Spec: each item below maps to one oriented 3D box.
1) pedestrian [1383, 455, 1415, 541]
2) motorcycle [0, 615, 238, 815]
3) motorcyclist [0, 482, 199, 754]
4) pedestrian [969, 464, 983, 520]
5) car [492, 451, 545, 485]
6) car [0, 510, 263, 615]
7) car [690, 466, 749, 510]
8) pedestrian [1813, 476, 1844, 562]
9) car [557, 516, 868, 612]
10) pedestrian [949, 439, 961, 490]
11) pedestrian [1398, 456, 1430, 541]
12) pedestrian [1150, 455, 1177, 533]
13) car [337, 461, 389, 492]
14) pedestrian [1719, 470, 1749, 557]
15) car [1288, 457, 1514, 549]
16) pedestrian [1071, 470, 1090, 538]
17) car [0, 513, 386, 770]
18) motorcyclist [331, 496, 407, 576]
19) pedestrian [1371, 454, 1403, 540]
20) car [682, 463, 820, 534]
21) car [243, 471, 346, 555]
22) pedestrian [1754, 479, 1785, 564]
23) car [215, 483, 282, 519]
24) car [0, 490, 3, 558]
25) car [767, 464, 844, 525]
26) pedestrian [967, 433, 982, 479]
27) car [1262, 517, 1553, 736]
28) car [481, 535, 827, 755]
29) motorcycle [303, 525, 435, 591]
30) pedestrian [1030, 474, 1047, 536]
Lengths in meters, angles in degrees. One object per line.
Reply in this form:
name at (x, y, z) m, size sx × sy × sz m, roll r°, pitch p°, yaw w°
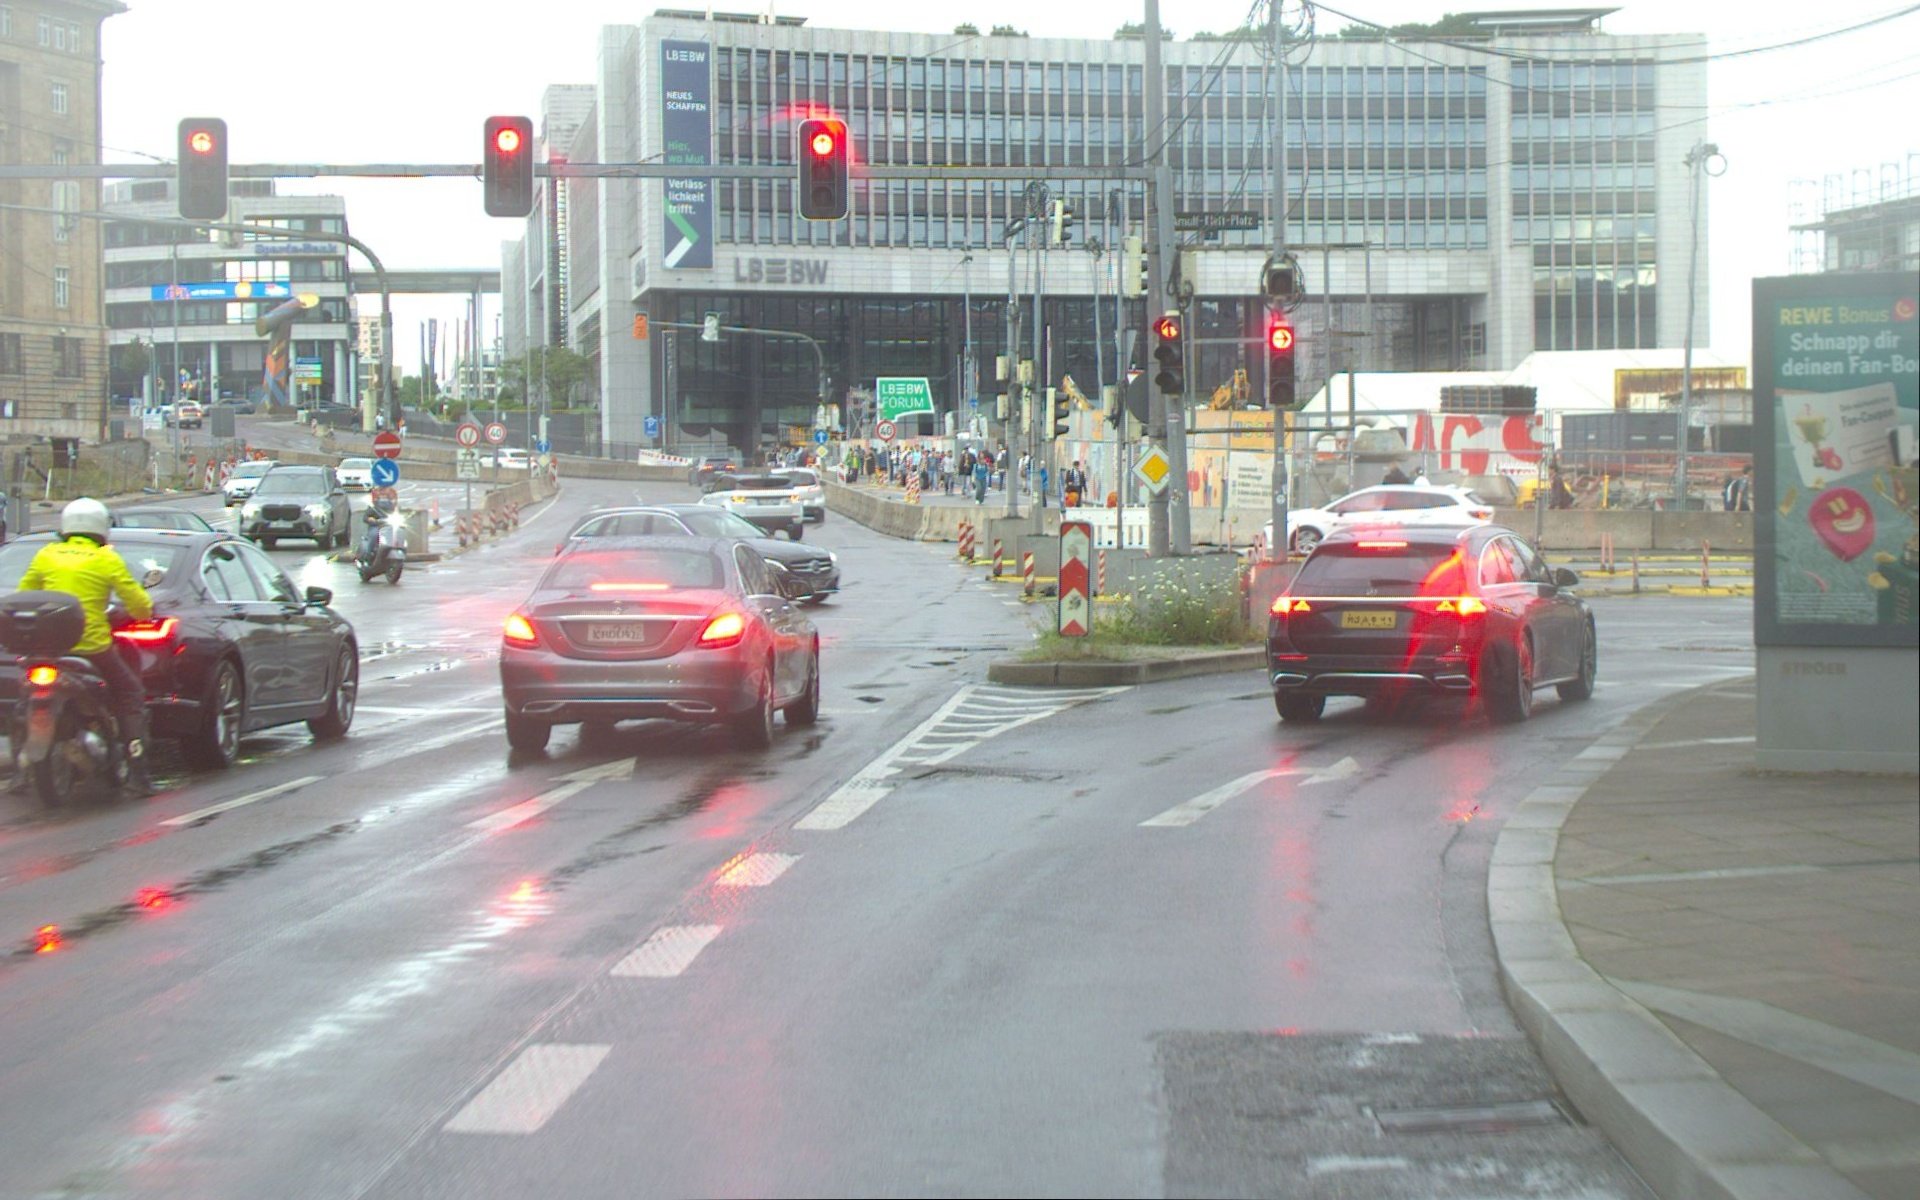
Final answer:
pedestrian at (9.760, -2.262, 76.442) m, size 0.361 × 1.891 × 0.576 m, roll -2°, pitch 1°, yaw -40°
motorcycle at (-4.719, 0.609, 19.192) m, size 0.942 × 0.986 × 2.294 m, roll 1°, pitch 1°, yaw -1°
motorcyclist at (-4.854, 0.094, 19.283) m, size 0.941 × 1.470 × 1.100 m, roll 1°, pitch 0°, yaw -1°
pedestrian at (0.540, -3.640, 115.968) m, size 0.361 × 1.891 × 0.576 m, roll 1°, pitch 0°, yaw -7°
car at (-24.997, -7.466, 194.631) m, size 1.993 × 1.809 × 4.001 m, roll 1°, pitch 1°, yaw -23°
car at (-12.632, -0.573, 51.357) m, size 4.106 × 1.501 × 1.996 m, roll 1°, pitch 1°, yaw 33°
car at (-11.478, -5.328, 163.806) m, size 1.993 × 2.007 × 4.001 m, roll 1°, pitch 1°, yaw -16°
pedestrian at (19.159, -1.783, 75.856) m, size 0.574 × 1.891 × 0.362 m, roll 1°, pitch 0°, yaw 3°
car at (-3.629, -0.533, 50.394) m, size 4.105 × 1.340 × 1.997 m, roll 1°, pitch 1°, yaw 27°
pedestrian at (-0.179, -5.094, 129.205) m, size 0.361 × 1.891 × 0.576 m, roll 1°, pitch 0°, yaw -7°
pedestrian at (10.141, -2.269, 76.786) m, size 0.361 × 1.891 × 0.576 m, roll 0°, pitch 1°, yaw -42°
pedestrian at (4.980, -2.586, 84.074) m, size 0.361 × 1.891 × 0.576 m, roll 0°, pitch 1°, yaw -37°
car at (-26.253, -5.434, 151.302) m, size 1.767 × 1.256 × 4.000 m, roll 1°, pitch 1°, yaw -3°
pedestrian at (16.935, -1.881, 75.244) m, size 0.575 × 1.891 × 0.362 m, roll 1°, pitch 0°, yaw 6°
car at (8.893, -1.945, 69.227) m, size 4.406 × 1.760 × 1.999 m, roll 1°, pitch 1°, yaw 10°
pedestrian at (3.396, -2.695, 96.665) m, size 0.361 × 1.891 × 0.577 m, roll 1°, pitch 0°, yaw -16°
car at (-5.348, 0.216, 22.889) m, size 1.887 × 1.509 × 5.002 m, roll 1°, pitch 1°, yaw 4°
motorcyclist at (-10.080, -1.095, 58.692) m, size 0.946 × 1.353 × 0.848 m, roll 1°, pitch 1°, yaw 27°
pedestrian at (9.465, -2.273, 76.253) m, size 0.361 × 1.891 × 0.576 m, roll 0°, pitch 1°, yaw -45°
car at (-5.063, -2.417, 82.797) m, size 1.993 × 1.634 × 4.001 m, roll 1°, pitch 1°, yaw -25°
car at (-14.919, -1.925, 77.251) m, size 1.993 × 1.791 × 5.104 m, roll 1°, pitch 1°, yaw -8°
pedestrian at (18.163, -1.766, 77.125) m, size 0.574 × 1.891 × 0.362 m, roll 1°, pitch 0°, yaw 0°
car at (-26.342, -3.648, 127.354) m, size 1.767 × 1.256 × 4.195 m, roll 1°, pitch 1°, yaw -3°
car at (-22.832, -1.736, 77.453) m, size 1.697 × 1.568 × 4.001 m, roll 1°, pitch 1°, yaw -5°
car at (-4.603, -3.131, 101.991) m, size 1.727 × 1.634 × 3.436 m, roll 1°, pitch 4°, yaw -12°
pedestrian at (0.577, -5.925, 141.615) m, size 0.519 × 1.891 × 0.576 m, roll 1°, pitch 0°, yaw -7°
car at (3.543, 0.170, 26.657) m, size 1.892 × 1.538 × 3.991 m, roll 1°, pitch 1°, yaw 12°
car at (-2.067, 0.266, 24.440) m, size 1.783 × 1.398 × 4.486 m, roll 1°, pitch 1°, yaw 4°
motorcycle at (-10.092, -0.715, 58.694) m, size 2.139 × 1.104 × 0.850 m, roll 1°, pitch 1°, yaw 28°
pedestrian at (2.393, -2.887, 104.590) m, size 0.361 × 1.891 × 0.576 m, roll 1°, pitch 0°, yaw -12°
